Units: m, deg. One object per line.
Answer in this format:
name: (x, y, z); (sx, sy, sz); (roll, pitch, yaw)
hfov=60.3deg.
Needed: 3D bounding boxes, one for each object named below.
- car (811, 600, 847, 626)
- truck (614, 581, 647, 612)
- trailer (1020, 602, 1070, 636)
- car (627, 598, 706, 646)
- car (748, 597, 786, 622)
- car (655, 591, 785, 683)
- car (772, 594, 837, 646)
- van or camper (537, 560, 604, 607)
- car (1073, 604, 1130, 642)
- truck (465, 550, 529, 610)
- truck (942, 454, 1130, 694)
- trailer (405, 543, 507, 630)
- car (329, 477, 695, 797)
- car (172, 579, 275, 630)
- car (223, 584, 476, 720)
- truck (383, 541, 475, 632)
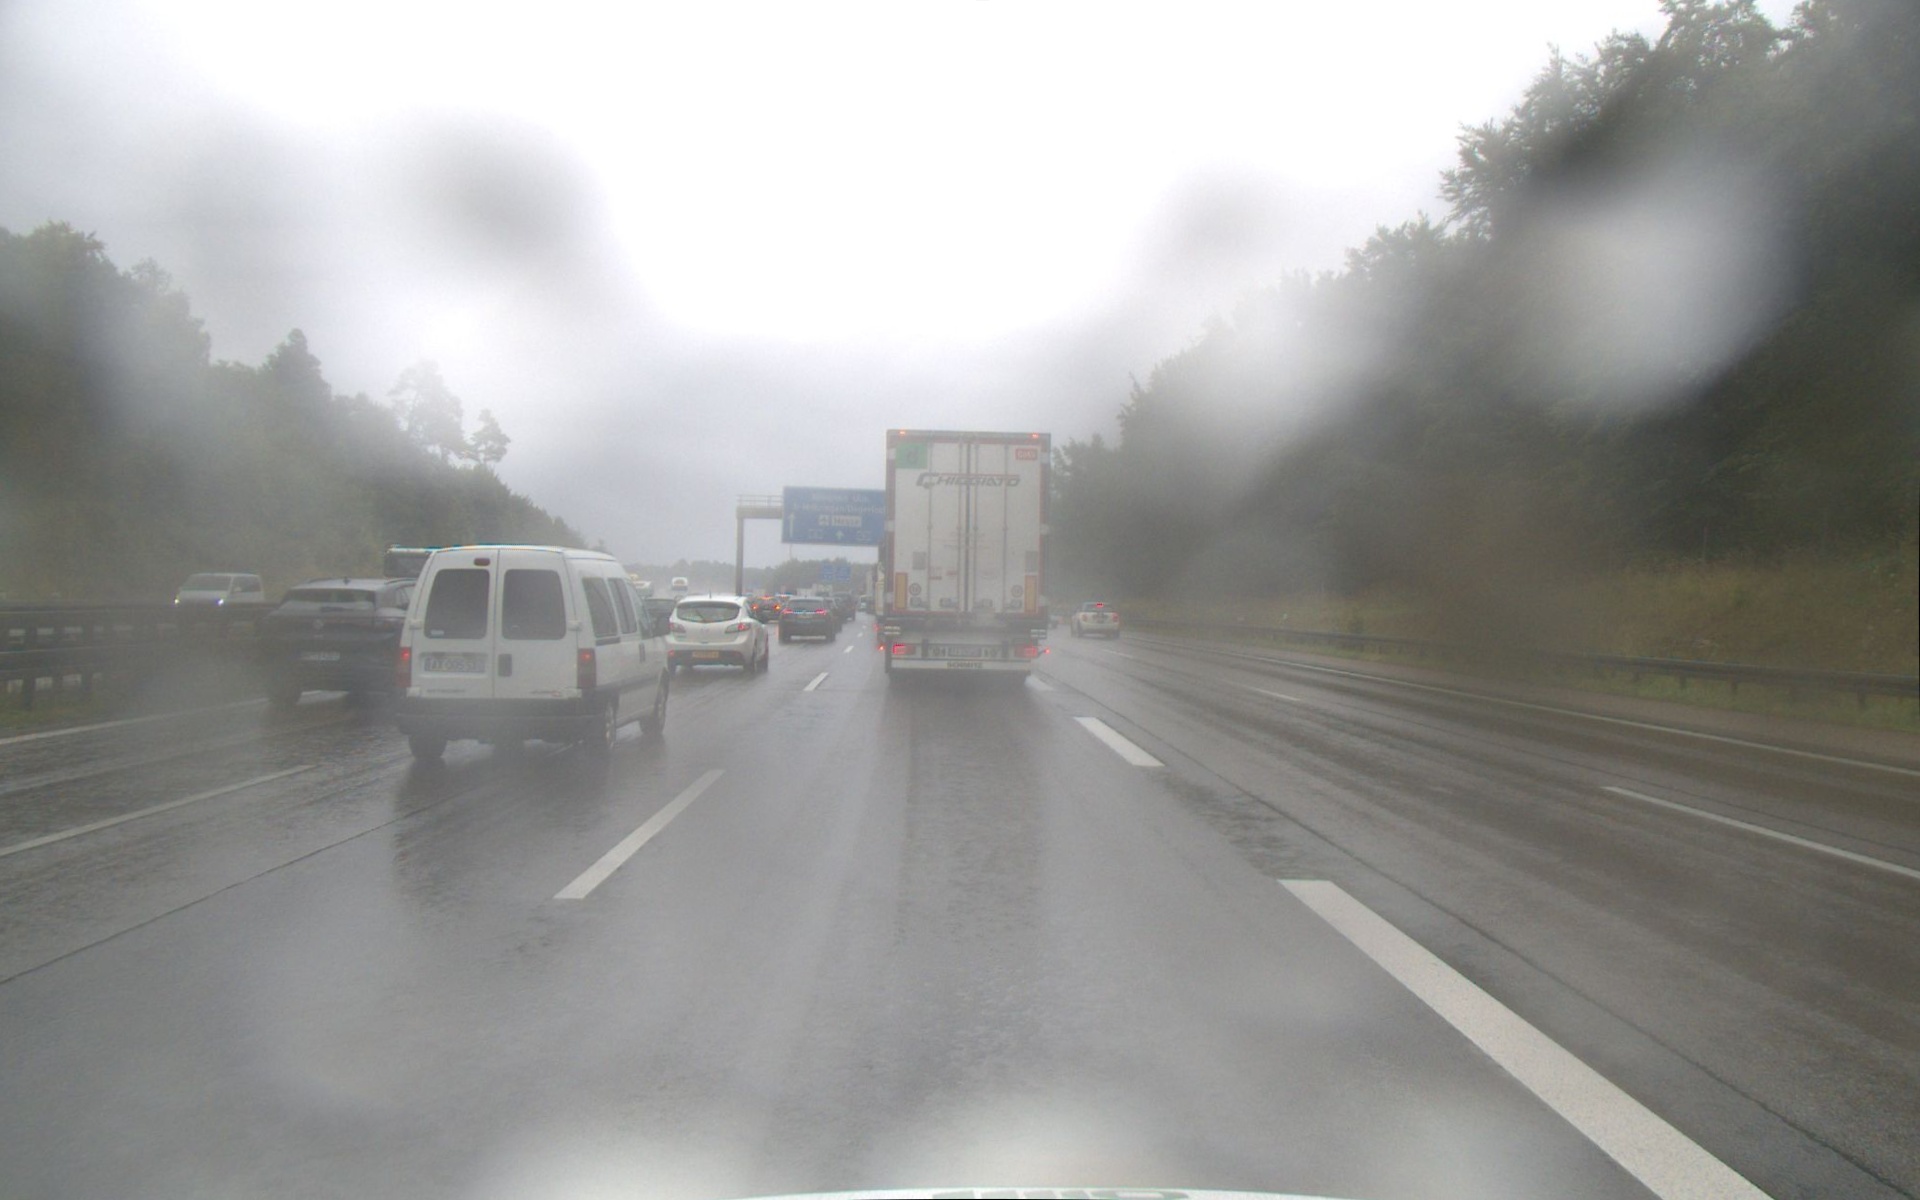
car: (-7.326, 0.715, 92.859); (1.808, 1.354, 4.465); (1, 0, -2)
truck: (-38.506, -0.437, 193.682); (2.470, 3.544, 11.707); (1, 0, -5)
trailer: (4.596, 1.006, 90.071); (2.198, 1.744, 5.080); (1, 0, -3)
car: (-9.152, 0.655, 51.855); (1.808, 1.354, 4.465); (1, 0, -2)
car: (-10.933, 0.524, 94.017); (1.808, 1.354, 4.465); (1, 0, -2)
car: (-4.551, 0.665, 31.909); (1.807, 1.619, 4.072); (1, 0, 1)
car: (-5.188, 0.646, 55.537); (1.808, 1.619, 4.465); (1, 0, -1)
van or camper: (-26.710, -1.106, 113.751); (2.785, 3.030, 8.783); (1, 0, -2)
car: (5.788, 0.931, 68.024); (1.755, 1.431, 4.226); (1, 0, -3)
truck: (-30.842, -1.328, 110.317); (2.649, 3.884, 6.262); (1, 0, -2)
truck: (1.202, -0.381, 30.956); (2.813, 3.624, 11.302); (1, 0, 0)
trailer: (-24.632, -0.638, 81.341); (2.329, 4.023, 9.419); (0, 0, -1)
car: (-4.114, 0.283, 16.222); (2.167, 2.618, 5.016); (1, 0, 0)
car: (-27.214, 0.128, 61.279); (1.955, 1.801, 5.033); (0, 1, -6)
car: (-8.055, 0.612, 22.276); (1.808, 1.619, 4.465); (1, 0, -1)
truck: (-24.518, -0.598, 76.651); (2.329, 4.023, 6.535); (0, 0, -1)
